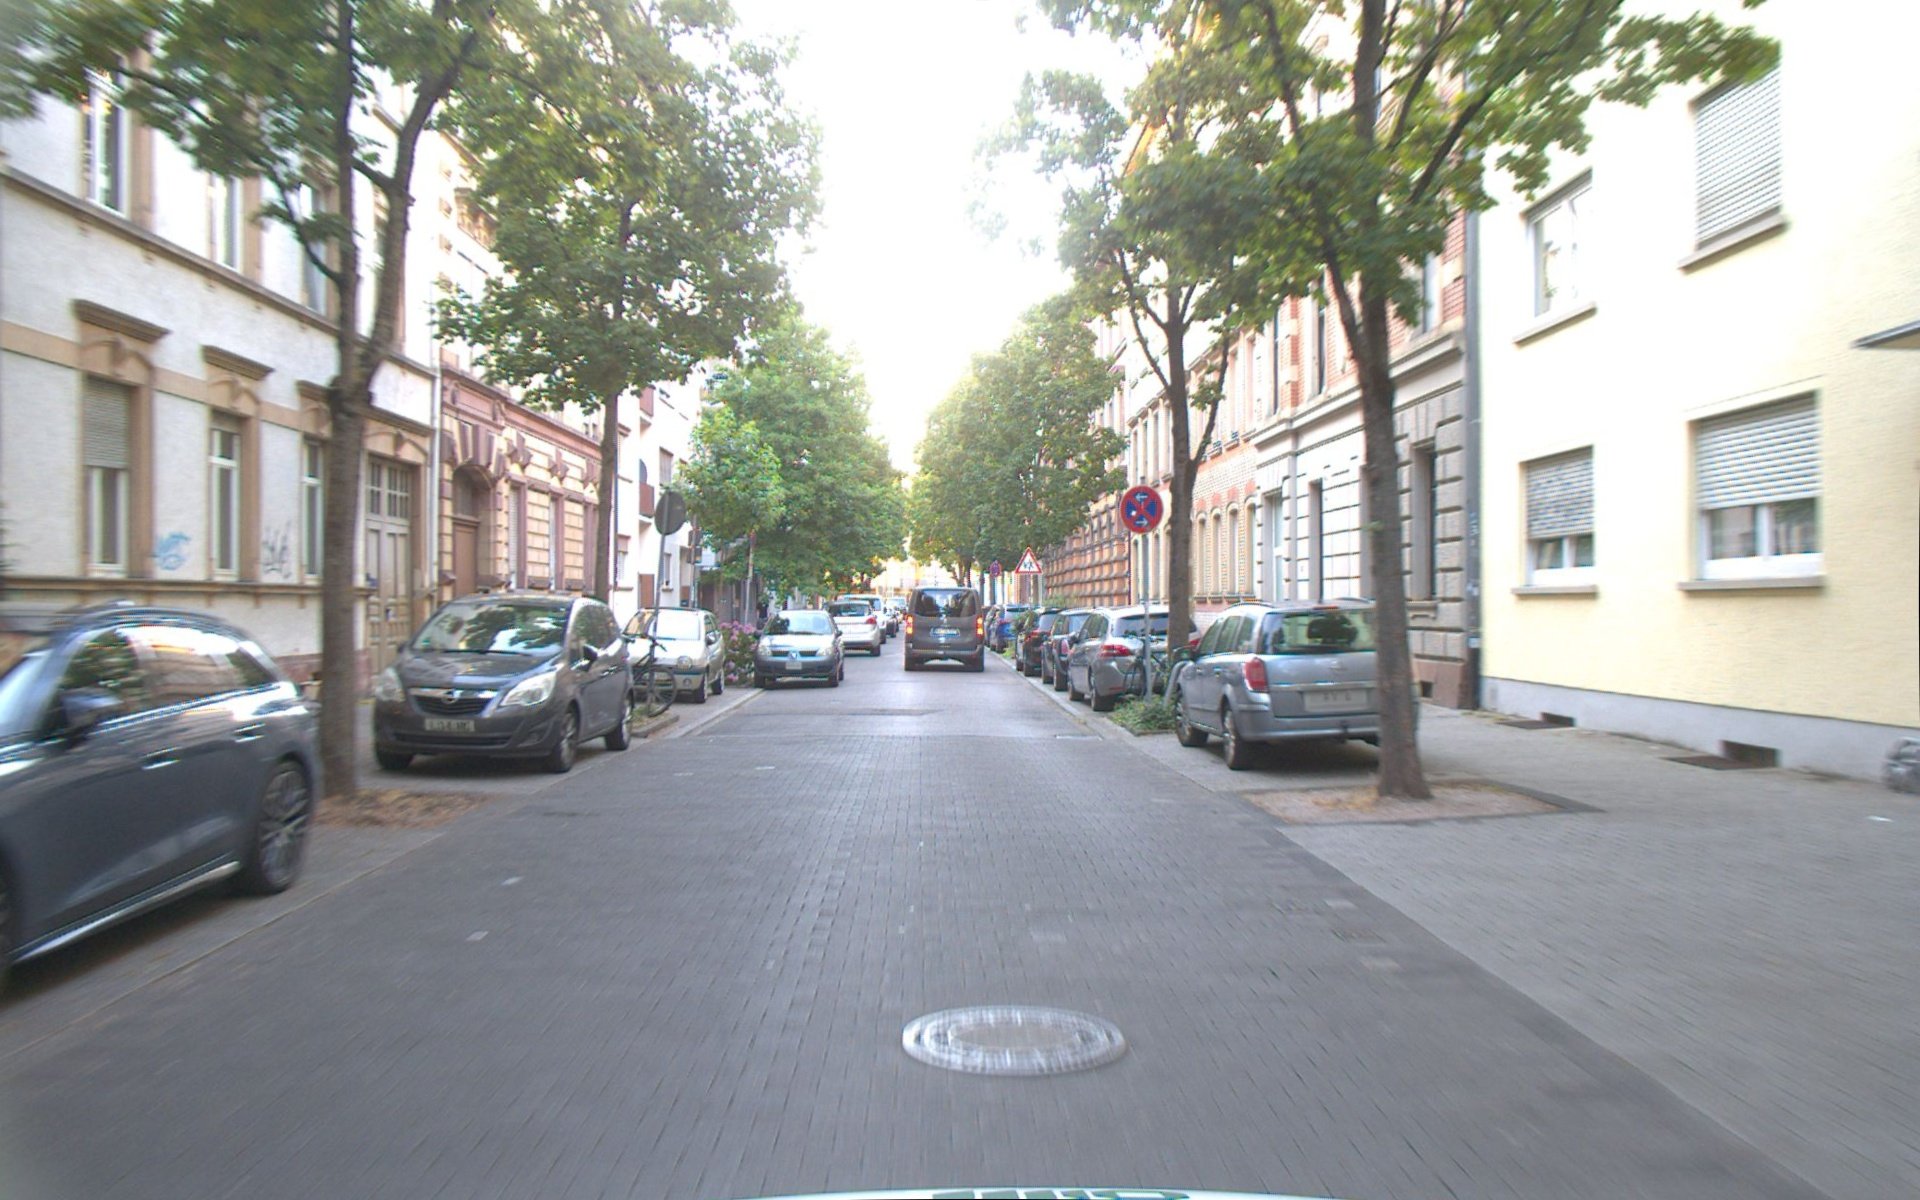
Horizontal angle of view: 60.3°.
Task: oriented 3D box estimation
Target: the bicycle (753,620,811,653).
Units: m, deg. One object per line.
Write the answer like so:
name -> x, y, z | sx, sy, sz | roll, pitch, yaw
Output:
bicycle -> -5.125, 1.043, 47.666 | 1.682, 0.923, 0.379 | 1, -1, -32

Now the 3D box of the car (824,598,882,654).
car -> -3.206, 0.744, 49.258 | 1.630, 1.590, 3.996 | -1, 0, -5

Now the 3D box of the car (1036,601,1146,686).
car -> 2.397, 0.767, 30.967 | 1.603, 1.449, 3.562 | -1, 0, -3

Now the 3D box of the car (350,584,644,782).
car -> -4.237, 0.677, 15.800 | 1.672, 1.608, 4.077 | 1, 0, -1

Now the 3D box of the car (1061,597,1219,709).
car -> 2.660, 0.742, 25.365 | 1.683, 1.502, 4.365 | -2, 0, -3

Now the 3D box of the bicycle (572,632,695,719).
bicycle -> -4.408, 0.994, 22.254 | 1.795, 1.104, 0.664 | 0, -2, 42

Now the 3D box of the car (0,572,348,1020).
car -> -4.207, 0.661, 6.727 | 1.769, 1.544, 4.683 | 1, 0, -2

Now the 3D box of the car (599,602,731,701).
car -> -4.682, 0.775, 26.685 | 1.555, 1.462, 3.564 | 1, 0, -2

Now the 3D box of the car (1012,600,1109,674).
car -> 2.155, 0.769, 36.463 | 1.731, 1.439, 4.472 | -2, 0, -1

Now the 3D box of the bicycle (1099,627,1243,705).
bicycle -> 2.872, 0.876, 22.470 | 1.890, 0.999, 0.634 | 0, 0, -23

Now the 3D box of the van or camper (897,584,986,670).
van or camper -> -0.390, 0.613, 39.114 | 1.993, 1.931, 4.271 | 0, 0, 0

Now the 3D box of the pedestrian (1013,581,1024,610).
pedestrian -> 3.407, -0.257, 95.889 | 0.614, 1.677, 0.531 | 0, -1, -1

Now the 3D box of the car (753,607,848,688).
car -> -3.012, 0.869, 31.746 | 1.548, 1.445, 3.752 | -1, 0, -2

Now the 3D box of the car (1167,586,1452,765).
car -> 3.240, 0.633, 16.201 | 1.723, 1.488, 4.306 | -1, 0, -2

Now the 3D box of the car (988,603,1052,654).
car -> 1.823, 0.860, 51.398 | 1.595, 1.492, 4.242 | -1, 0, -3

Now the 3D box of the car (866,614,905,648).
car -> -3.527, 1.451, 78.631 | 1.793, 1.544, 4.514 | 0, -1, -2

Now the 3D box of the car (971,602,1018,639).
car -> 1.388, 0.831, 68.298 | 1.659, 1.426, 4.644 | -1, 0, -2

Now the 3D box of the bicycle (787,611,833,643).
bicycle -> -5.755, 1.012, 63.437 | 0.686, 1.184, 1.813 | -1, 0, 40

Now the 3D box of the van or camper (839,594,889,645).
van or camper -> -3.731, 0.727, 64.507 | 1.839, 1.875, 4.750 | -1, 0, -3

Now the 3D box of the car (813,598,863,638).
car -> -5.404, 0.774, 73.967 | 1.953, 1.675, 4.920 | 1, 0, -2

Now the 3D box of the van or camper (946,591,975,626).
van or camper -> 0.008, 0.627, 127.526 | 1.954, 2.644, 5.421 | 0, 0, -3

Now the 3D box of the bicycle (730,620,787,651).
bicycle -> -5.891, 1.039, 48.415 | 1.643, 0.914, 0.379 | 1, -1, -32
